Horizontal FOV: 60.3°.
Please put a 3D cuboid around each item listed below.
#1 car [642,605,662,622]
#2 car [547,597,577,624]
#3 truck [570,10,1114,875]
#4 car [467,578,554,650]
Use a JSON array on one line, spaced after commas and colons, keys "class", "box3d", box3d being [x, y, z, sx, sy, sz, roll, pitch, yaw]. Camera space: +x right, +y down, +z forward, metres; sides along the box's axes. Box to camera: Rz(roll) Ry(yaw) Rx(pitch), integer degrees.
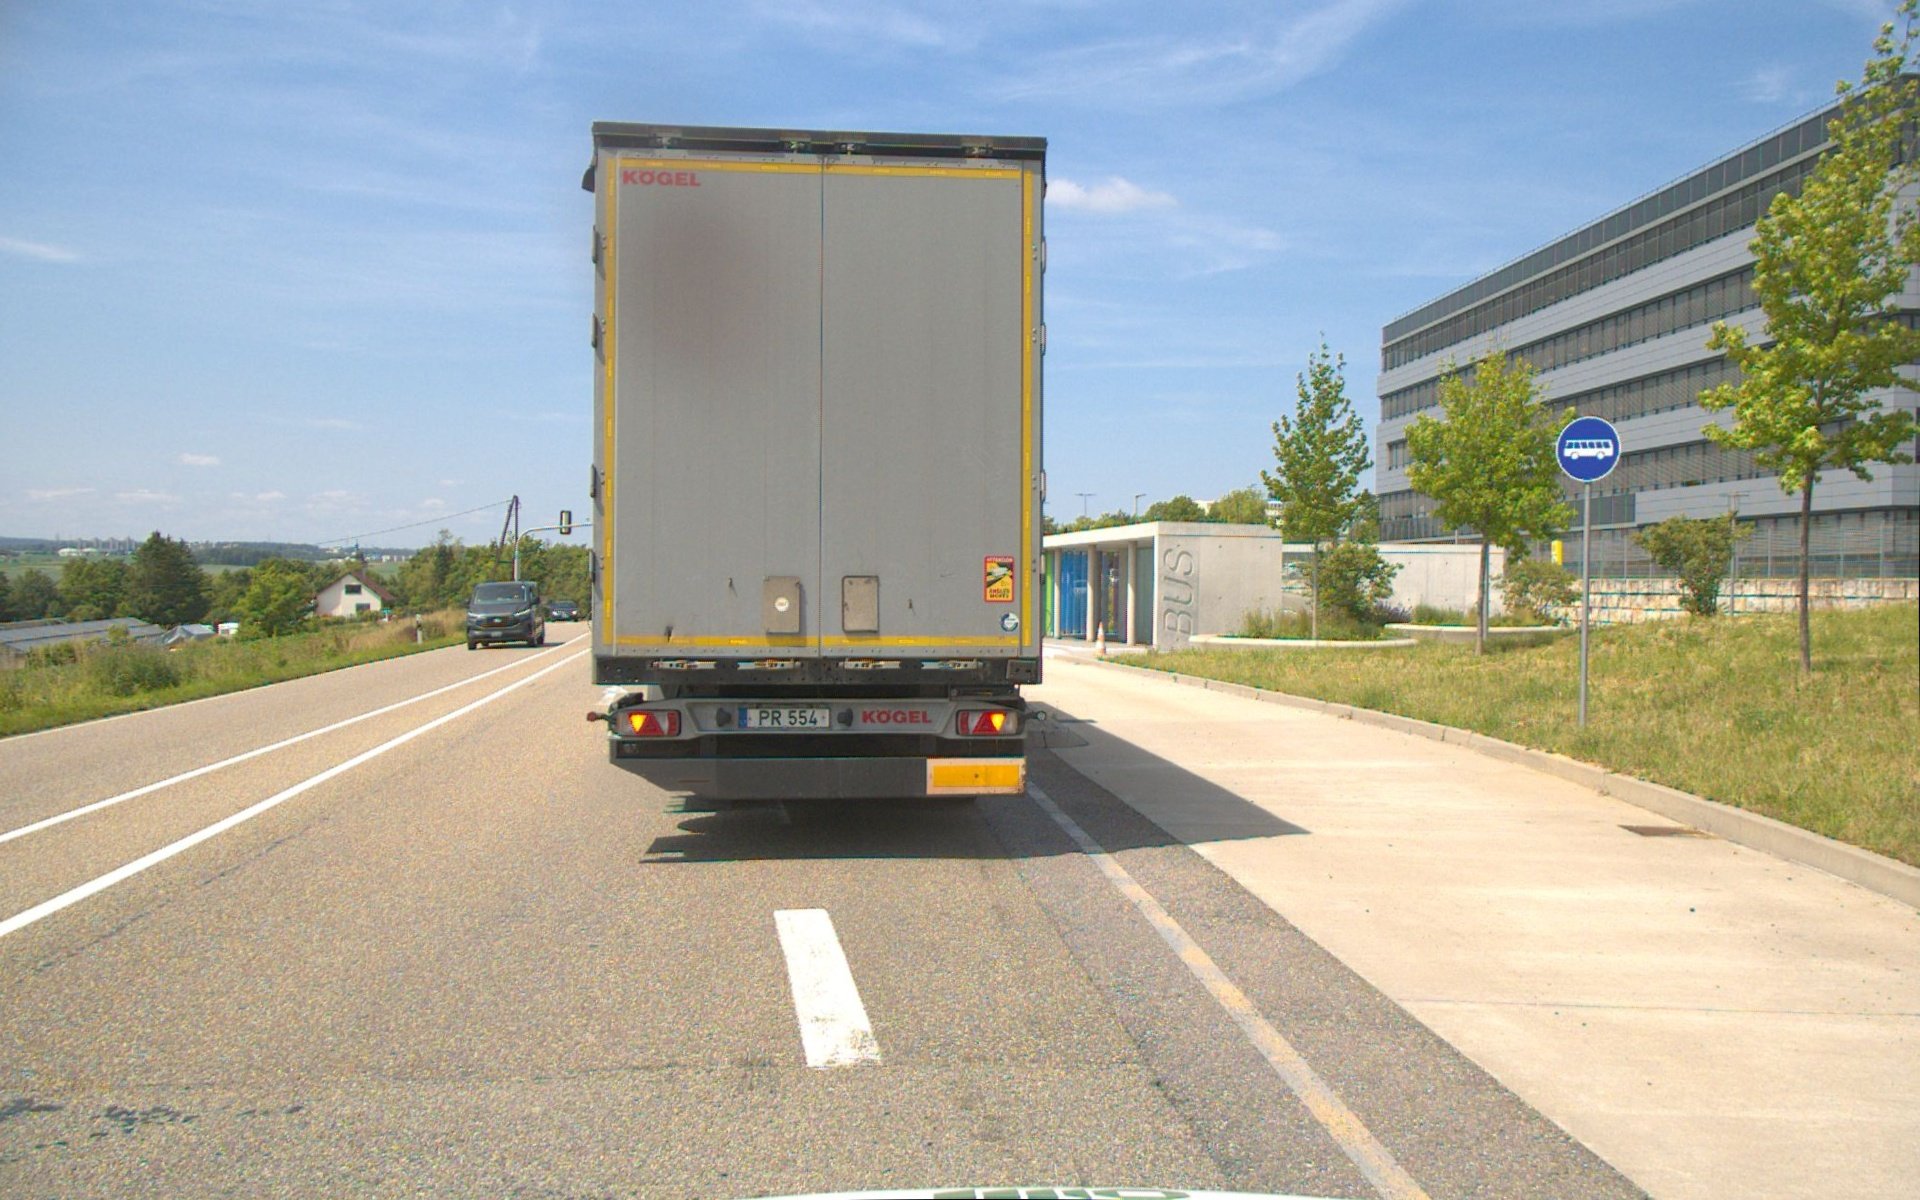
[{"class": "car", "box3d": [-38.344, 1.684, 205.713, 2.130, 2.049, 4.519, -2, 0, -7]}, {"class": "car", "box3d": [-28.722, 0.752, 119.355, 1.959, 1.819, 3.987, -2, 0, -13]}, {"class": "truck", "box3d": [-1.029, -0.829, 13.134, 2.851, 4.487, 8.849, 0, 0, -6]}, {"class": "car", "box3d": [-13.727, 0.401, 50.743, 1.957, 2.013, 5.268, -2, 0, -9]}]
